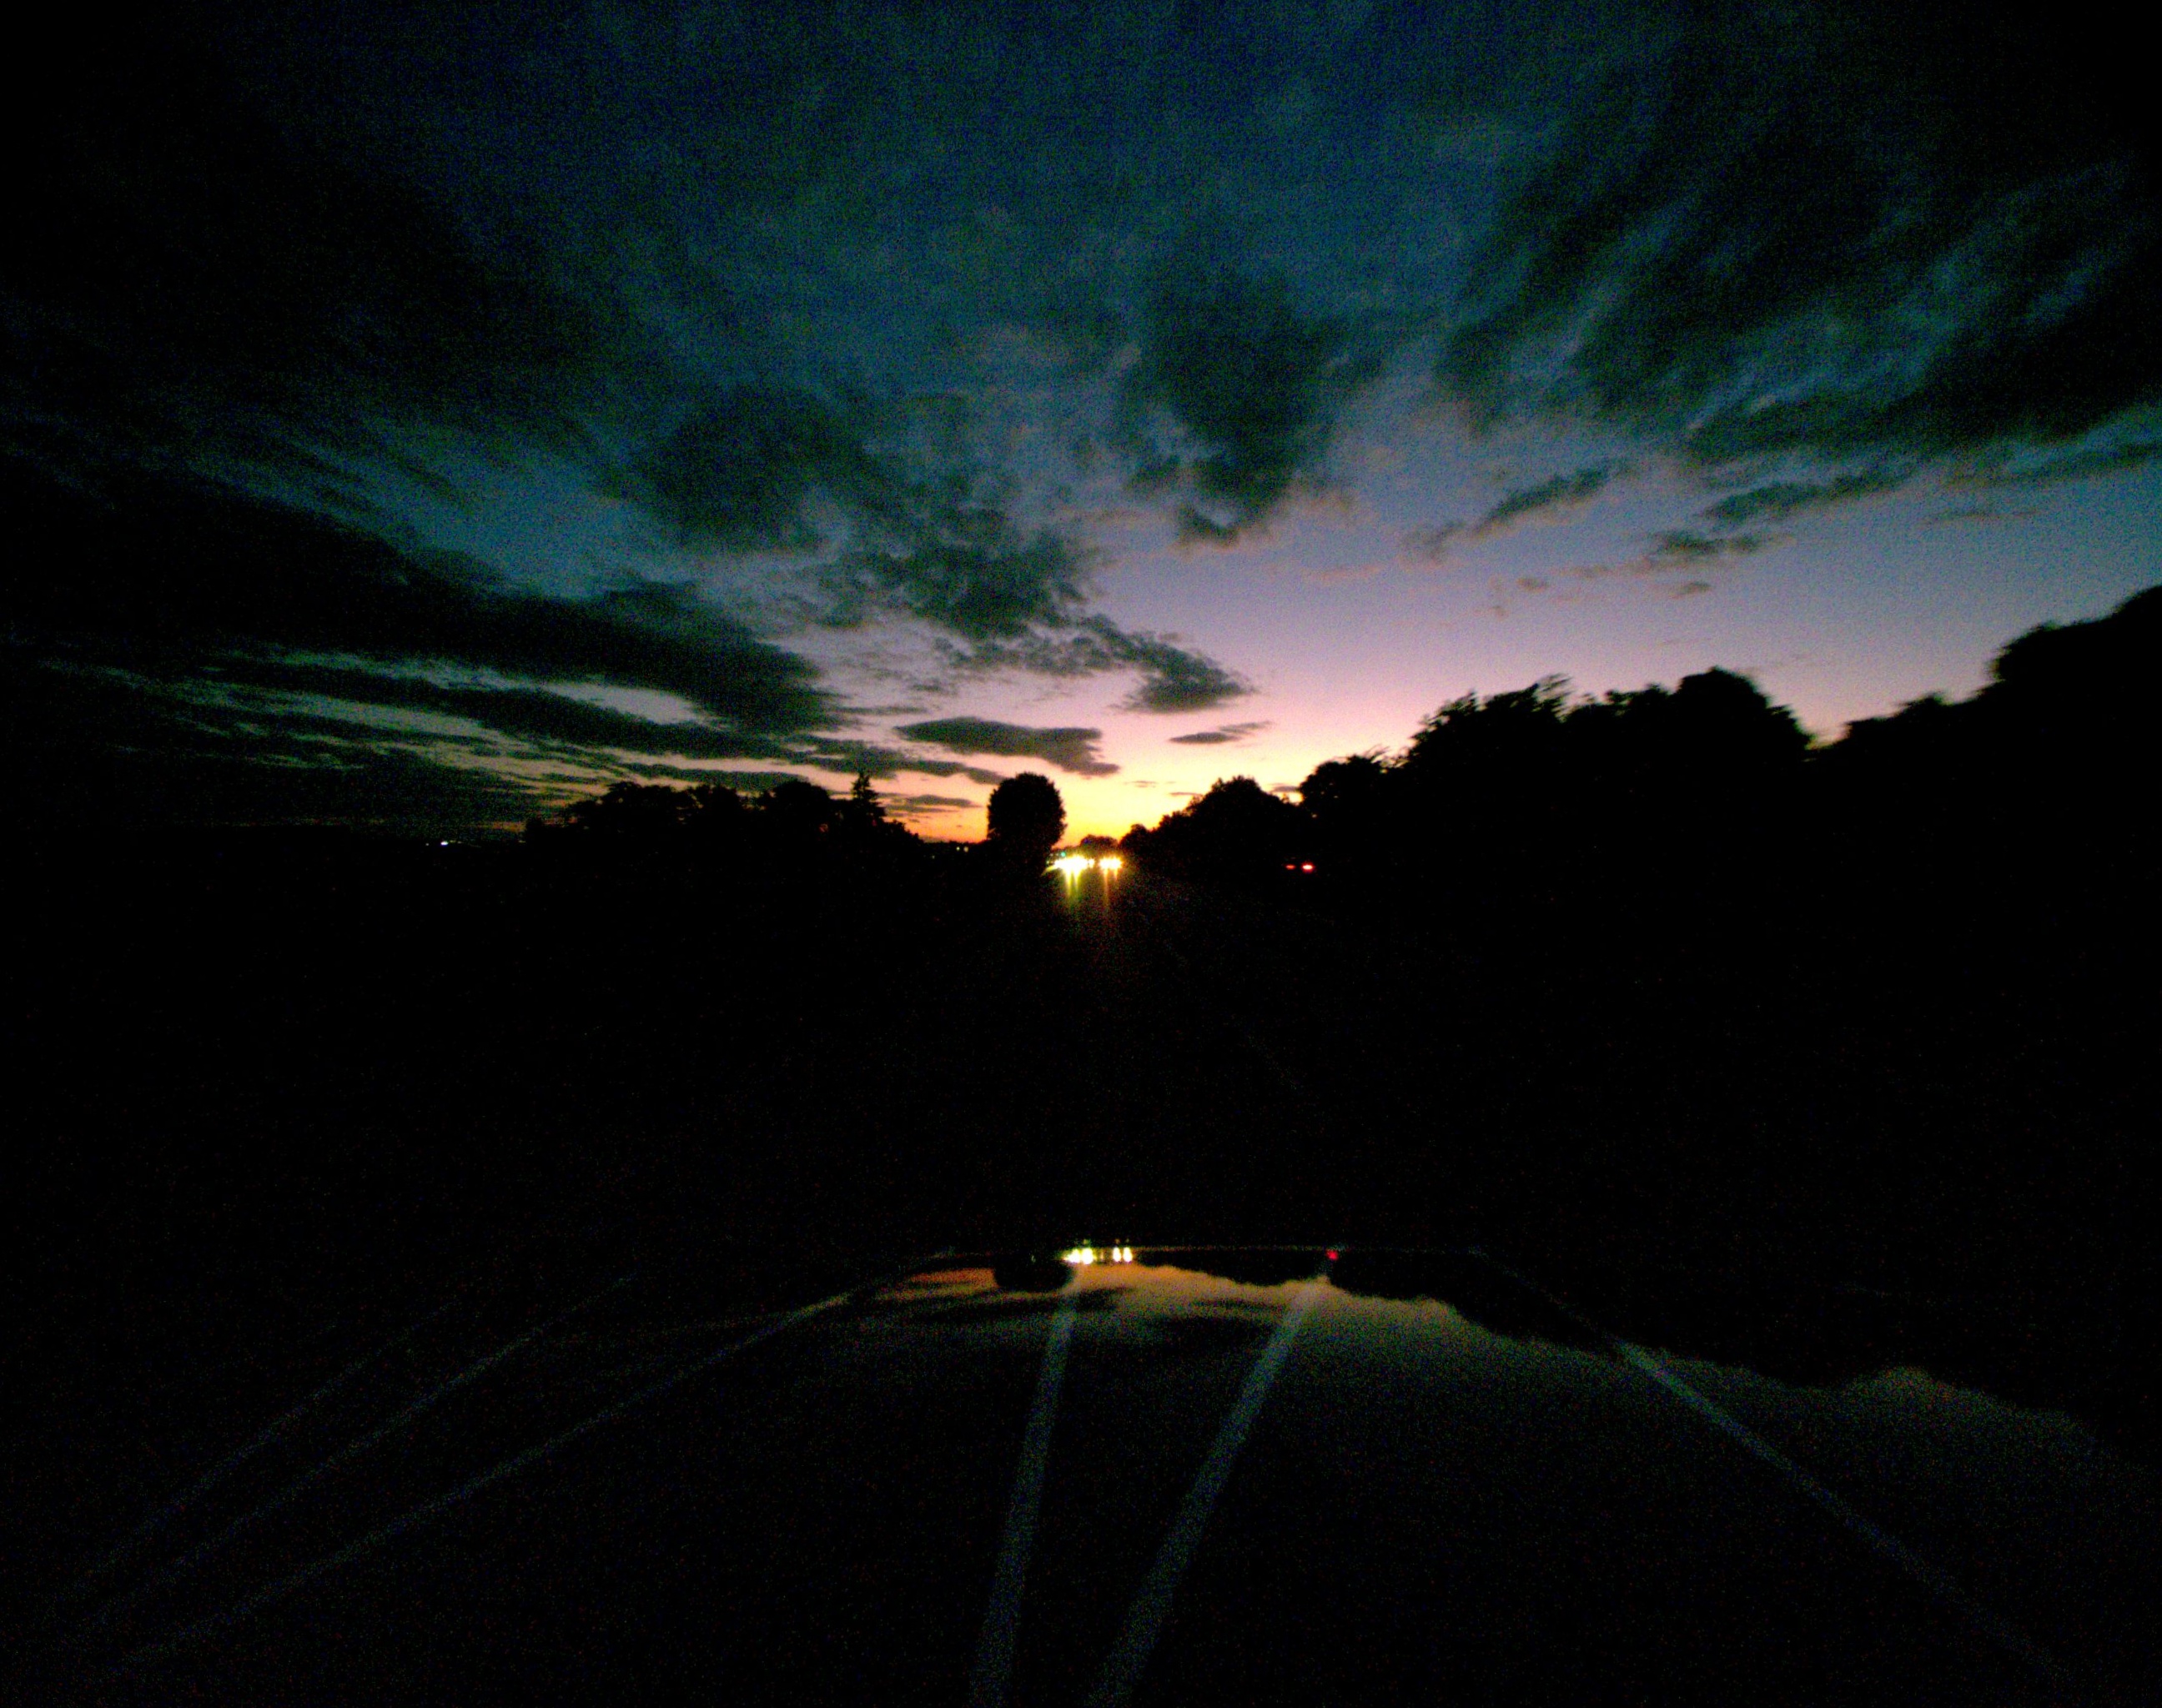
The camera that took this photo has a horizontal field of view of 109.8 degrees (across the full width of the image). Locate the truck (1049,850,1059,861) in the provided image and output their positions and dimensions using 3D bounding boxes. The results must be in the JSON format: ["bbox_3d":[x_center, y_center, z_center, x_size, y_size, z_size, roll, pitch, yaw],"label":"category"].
[{"bbox_3d":[-9.250,0.422,260.126,3.017,3.674,9.056,-2,0,-3],"label":"truck"}]

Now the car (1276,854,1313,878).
[{"bbox_3d":[16.194,0.865,57.781,1.673,1.747,4.000,-2,0,0],"label":"car"}]

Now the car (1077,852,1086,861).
[{"bbox_3d":[0.073,0.575,178.921,1.999,2.002,3.999,-2,0,-1],"label":"car"}]

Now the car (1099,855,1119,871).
[{"bbox_3d":[3.169,0.992,86.285,1.999,1.635,4.296,-2,0,0],"label":"car"}]

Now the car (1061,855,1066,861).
[{"bbox_3d":[-5.048,1.185,220.680,1.480,1.619,3.210,-2,0,-2],"label":"car"}]

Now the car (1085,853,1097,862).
[{"bbox_3d":[1.980,0.761,152.201,1.999,1.778,3.998,-2,0,-4],"label":"car"}]

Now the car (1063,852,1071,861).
[{"bbox_3d":[-3.511,0.605,190.751,1.999,2.002,3.999,-2,0,-3],"label":"car"}]

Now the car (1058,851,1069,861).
[{"bbox_3d":[-3.628,0.363,154.494,1.999,2.002,3.999,-2,0,-3],"label":"car"}]

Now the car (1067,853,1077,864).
[{"bbox_3d":[-1.735,0.842,141.179,1.741,2.002,4.000,-2,0,-1],"label":"car"}]
